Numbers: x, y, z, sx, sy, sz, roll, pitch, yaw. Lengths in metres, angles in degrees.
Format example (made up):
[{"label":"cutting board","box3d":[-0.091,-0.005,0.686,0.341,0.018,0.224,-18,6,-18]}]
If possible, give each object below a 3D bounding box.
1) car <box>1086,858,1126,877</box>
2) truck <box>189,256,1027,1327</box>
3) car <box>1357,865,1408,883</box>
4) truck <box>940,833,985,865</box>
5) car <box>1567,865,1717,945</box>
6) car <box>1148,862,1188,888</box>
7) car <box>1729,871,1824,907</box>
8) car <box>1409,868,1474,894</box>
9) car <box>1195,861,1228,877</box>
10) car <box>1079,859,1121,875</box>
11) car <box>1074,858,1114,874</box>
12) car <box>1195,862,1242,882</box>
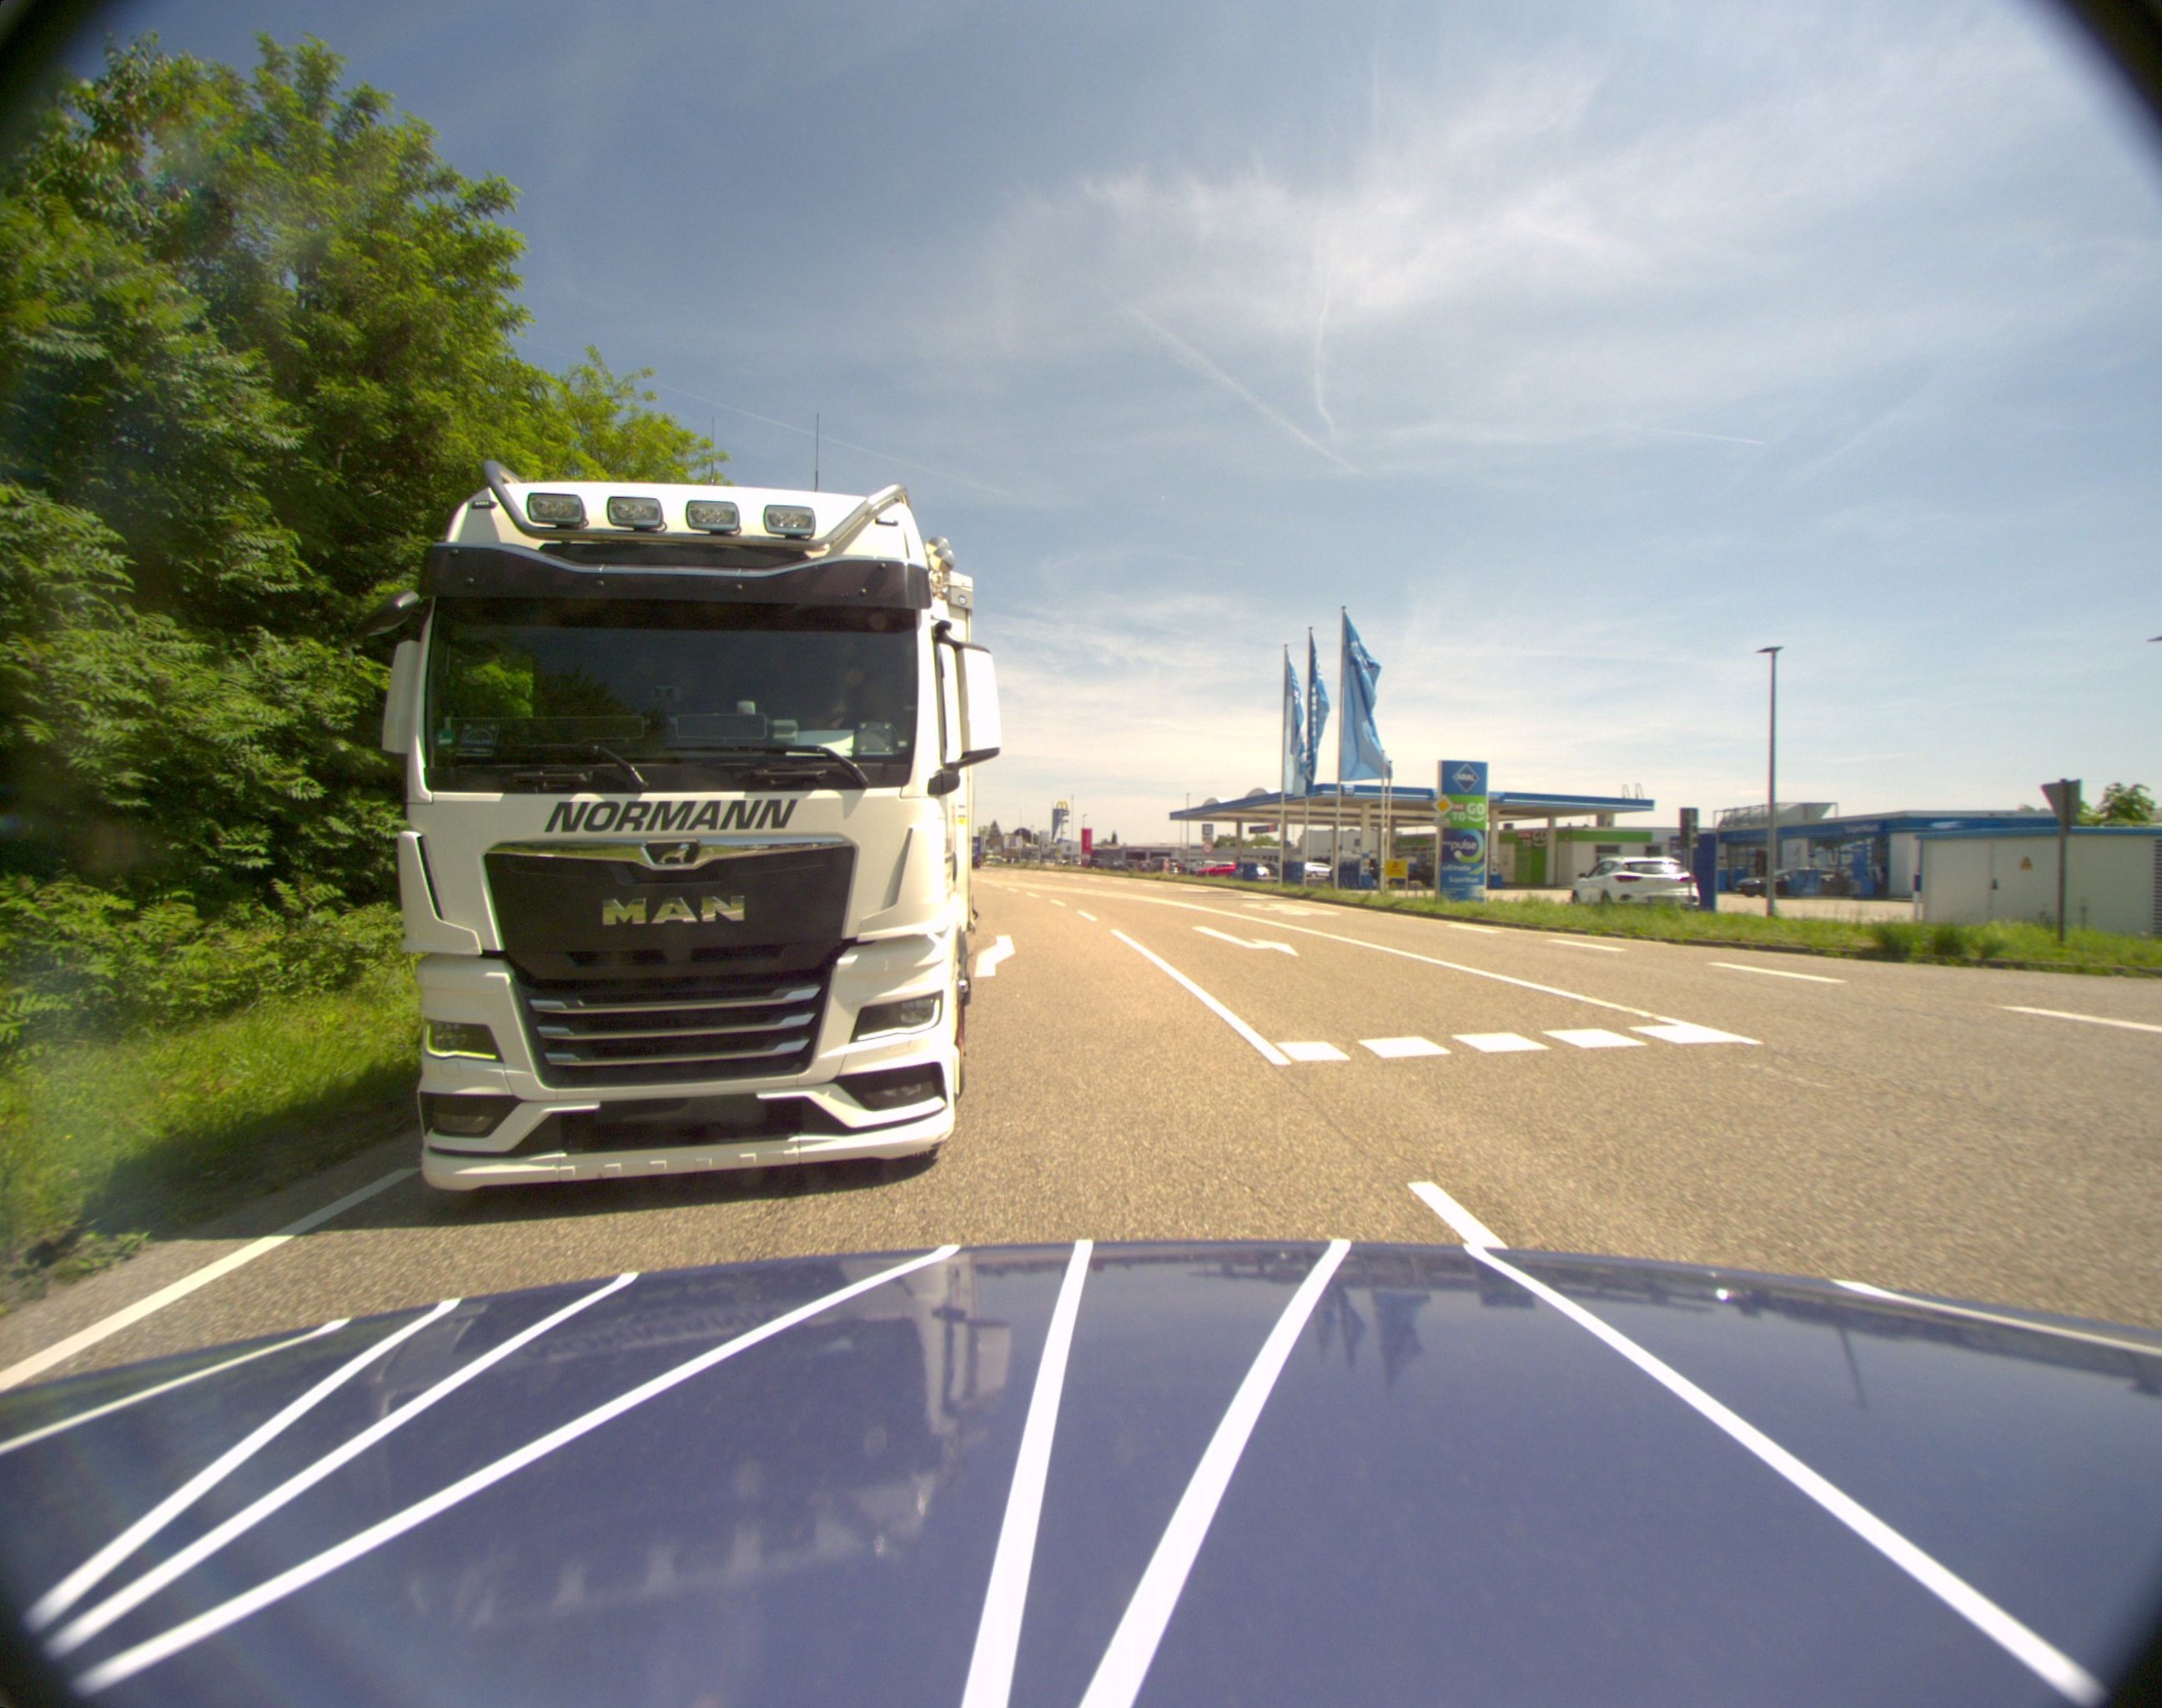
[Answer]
[{"label":"car","box3d":[2.441,1.287,72.127,1.837,1.694,4.009,1,0,36]},{"label":"truck","box3d":[-3.155,-0.354,11.830,2.983,4.070,17.617,-2,1,-9]},{"label":"car","box3d":[24.833,1.651,62.679,2.000,1.370,4.380,1,0,-7]},{"label":"truck","box3d":[-16.069,-0.587,101.561,2.856,3.866,16.976,0,0,-19]},{"label":"car","box3d":[14.396,1.202,19.825,1.864,1.702,4.525,0,1,19]},{"label":"car","box3d":[6.108,1.450,53.900,1.834,1.709,4.566,0,0,-7]},{"label":"car","box3d":[33.374,1.633,36.473,4.005,1.597,1.943,0,0,-24]},{"label":"car","box3d":[22.900,1.686,48.418,1.607,1.469,4.102,0,1,-11]},{"label":"car","box3d":[13.341,1.487,77.623,1.713,1.526,3.994,0,0,-17]},{"label":"car","box3d":[1.999,1.323,77.668,4.008,1.477,1.815,2,0,-38]},{"label":"car","box3d":[1.442,1.273,80.386,1.777,1.577,4.192,1,0,45]},{"label":"car","box3d":[13.225,1.737,73.386,4.001,1.892,1.998,1,0,-11]}]
